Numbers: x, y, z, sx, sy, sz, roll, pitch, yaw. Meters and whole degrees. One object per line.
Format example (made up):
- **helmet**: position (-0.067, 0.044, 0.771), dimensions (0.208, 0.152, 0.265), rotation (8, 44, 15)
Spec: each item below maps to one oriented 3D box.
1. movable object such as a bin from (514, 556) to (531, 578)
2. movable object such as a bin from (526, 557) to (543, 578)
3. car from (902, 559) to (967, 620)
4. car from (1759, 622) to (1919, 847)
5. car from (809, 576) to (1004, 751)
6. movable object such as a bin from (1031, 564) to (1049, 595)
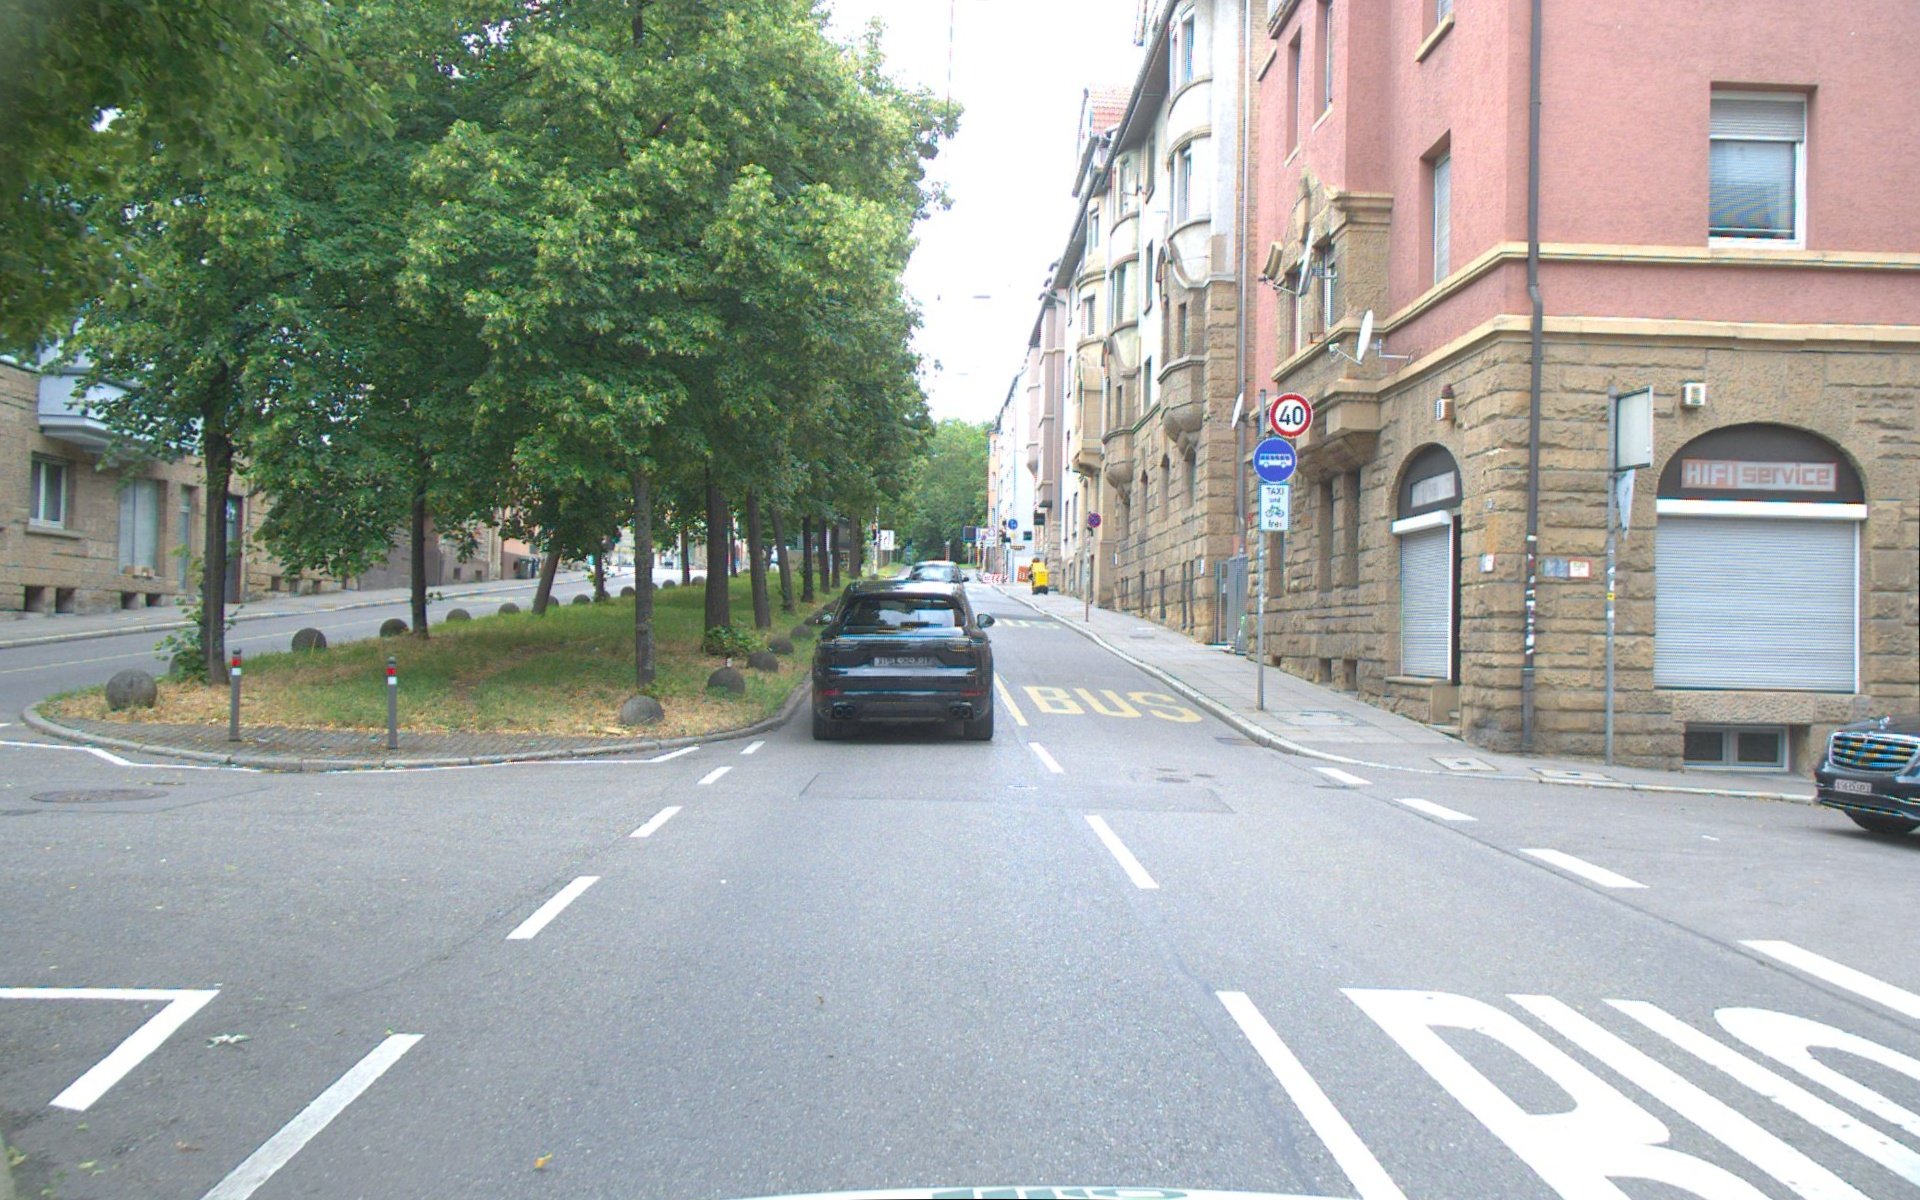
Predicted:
- **movable object such as a bin**: position (-19.249, -1.462, 72.751), dimensions (0.597, 0.920, 0.601), rotation (2, 1, -5)
- **movable object such as a bin**: position (-19.256, -1.472, 74.887), dimensions (0.597, 0.920, 0.601), rotation (2, 1, -5)
- **car**: position (-0.768, -0.337, 47.581), dimensions (1.717, 1.621, 3.629), rotation (2, 1, -2)
- **car**: position (9.207, 1.126, 12.769), dimensions (5.029, 1.577, 2.235), rotation (4, -1, -7)
- **car**: position (-0.556, 0.609, 18.663), dimensions (1.953, 1.681, 4.000), rotation (0, 2, -1)
- **movable object such as a bin**: position (3.736, -0.955, 77.377), dimensions (0.705, 1.445, 1.692), rotation (0, 0, -3)
